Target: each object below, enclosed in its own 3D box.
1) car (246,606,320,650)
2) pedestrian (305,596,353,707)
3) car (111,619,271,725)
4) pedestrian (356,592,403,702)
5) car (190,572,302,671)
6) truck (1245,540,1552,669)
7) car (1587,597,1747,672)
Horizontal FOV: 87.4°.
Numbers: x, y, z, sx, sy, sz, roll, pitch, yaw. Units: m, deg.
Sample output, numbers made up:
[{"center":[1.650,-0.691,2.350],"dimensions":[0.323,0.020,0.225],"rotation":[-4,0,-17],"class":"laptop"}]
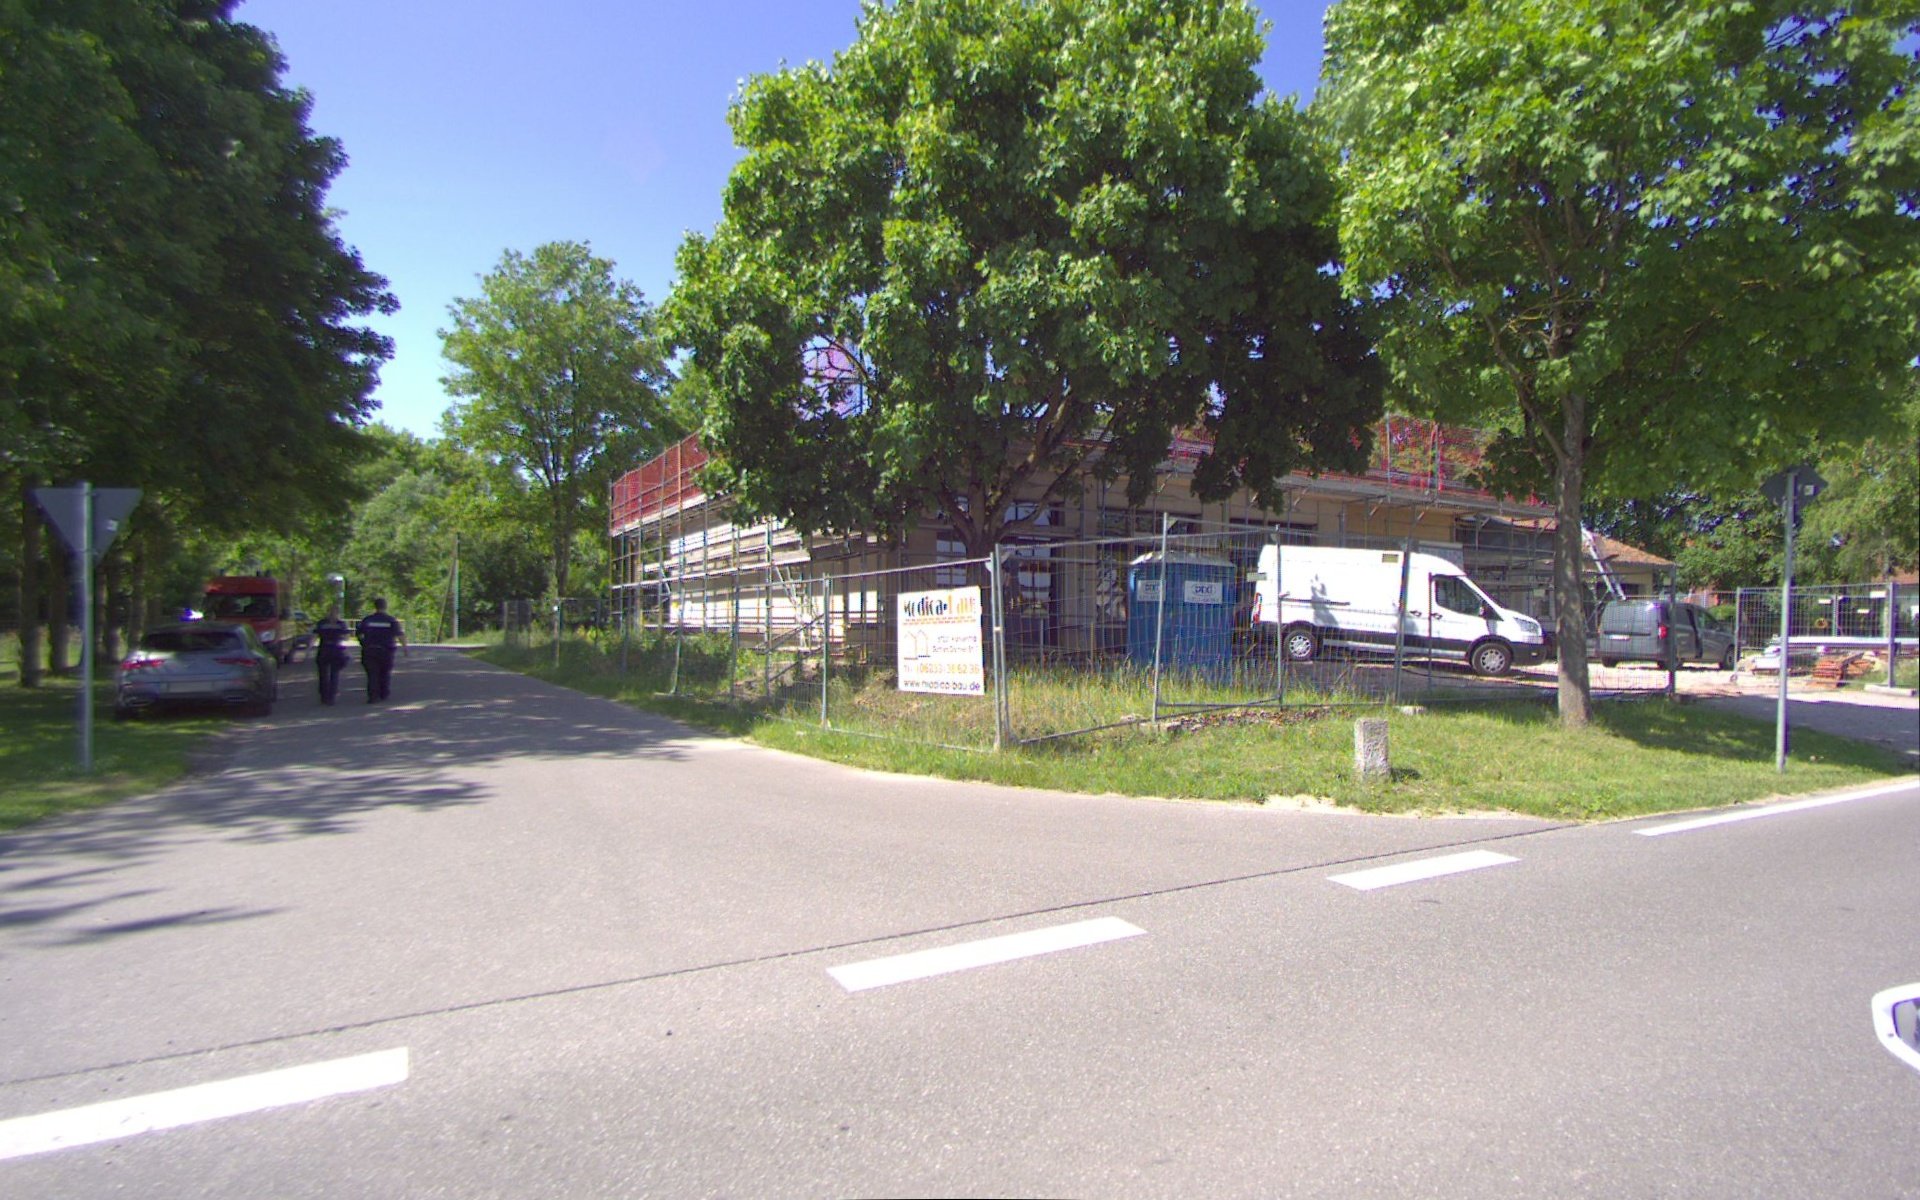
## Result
[{"center":[-28.357,1.166,42.050],"dimensions":[3.695,1.773,1.658],"rotation":[-1,-2,41],"class":"car"},{"center":[-10.329,0.833,16.441],"dimensions":[0.581,1.774,0.598],"rotation":[1,-2,-39],"class":"pedestrian"},{"center":[-11.769,1.021,15.497],"dimensions":[1.742,1.417,3.773],"rotation":[1,-2,-36],"class":"car"},{"center":[-9.675,0.774,16.731],"dimensions":[0.581,1.774,0.598],"rotation":[1,-2,-39],"class":"pedestrian"},{"center":[-20.883,0.668,29.637],"dimensions":[2.097,2.611,6.031],"rotation":[1,-2,-30],"class":"car"},{"center":[9.320,0.091,21.746],"dimensions":[5.819,2.516,1.999],"rotation":[0,-1,24],"class":"truck"},{"center":[19.088,0.908,27.090],"dimensions":[4.278,1.862,1.961],"rotation":[1,-1,-30],"class":"car"}]
